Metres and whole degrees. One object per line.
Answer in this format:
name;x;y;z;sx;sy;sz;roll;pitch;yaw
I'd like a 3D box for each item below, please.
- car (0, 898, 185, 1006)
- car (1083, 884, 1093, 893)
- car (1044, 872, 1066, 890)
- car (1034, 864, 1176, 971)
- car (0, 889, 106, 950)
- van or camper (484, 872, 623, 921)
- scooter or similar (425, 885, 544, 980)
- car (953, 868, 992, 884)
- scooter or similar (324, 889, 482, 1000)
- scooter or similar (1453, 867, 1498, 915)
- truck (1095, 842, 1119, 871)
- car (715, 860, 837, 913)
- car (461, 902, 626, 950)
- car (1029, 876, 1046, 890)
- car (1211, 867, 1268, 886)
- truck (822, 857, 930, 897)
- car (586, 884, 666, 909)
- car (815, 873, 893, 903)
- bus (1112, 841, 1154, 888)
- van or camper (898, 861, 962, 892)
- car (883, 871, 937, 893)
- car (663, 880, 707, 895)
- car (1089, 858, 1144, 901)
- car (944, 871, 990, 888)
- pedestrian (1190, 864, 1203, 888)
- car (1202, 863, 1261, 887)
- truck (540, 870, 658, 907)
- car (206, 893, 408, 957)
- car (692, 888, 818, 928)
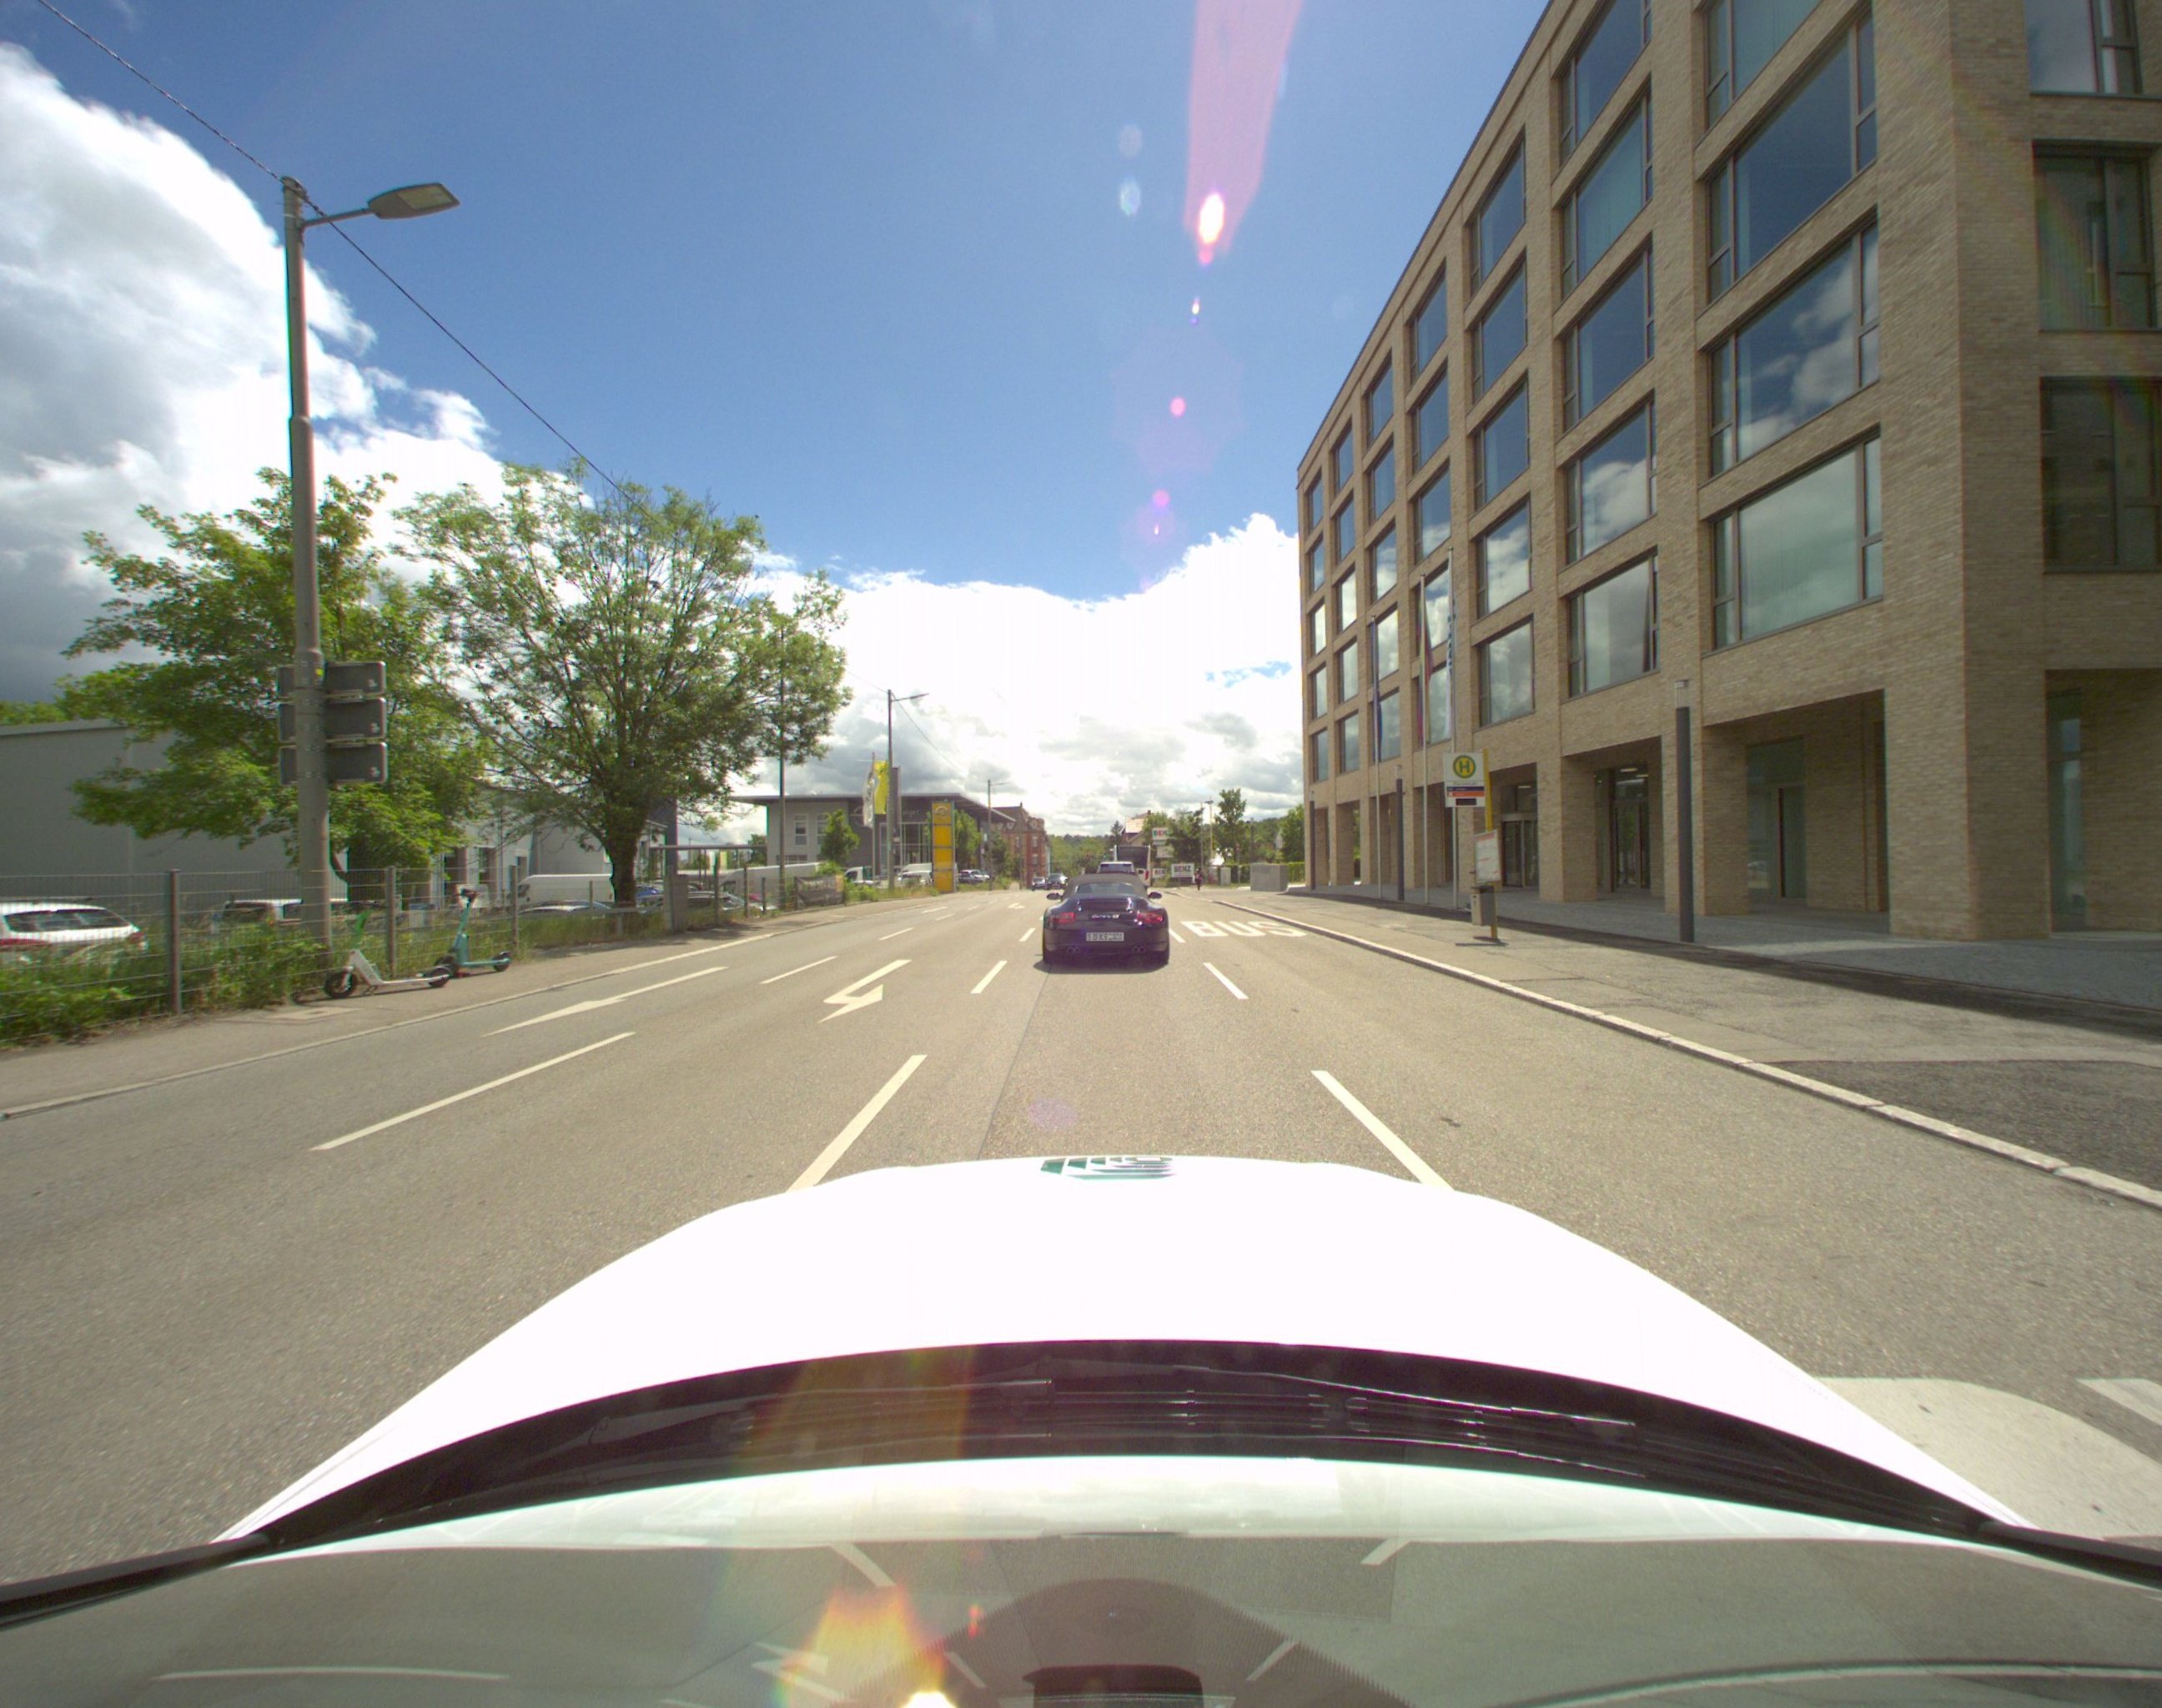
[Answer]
car;-16.381;1.429;12.132;4.255;1.381;1.868;-2;-1;5
car;1.389;7.000;165.383;1.858;1.666;4.257;-1;-2;0
car;-2.234;2.397;71.809;1.824;1.509;4.274;-2;-2;-1
car;0.404;0.894;13.213;1.923;1.376;4.210;-1;0;2
car;-33.483;2.041;24.995;4.172;1.728;1.831;-1;-1;-19
van or camper;-28.632;2.245;44.478;5.898;2.355;2.488;-1;0;-18
scooter or similar;-8.709;1.107;11.960;0.532;1.266;1.474;0;-1;6
car;-11.137;2.317;83.839;1.913;1.573;4.578;-2;-2;24
scooter or similar;-8.649;1.104;10.460;0.530;1.262;1.478;0;-1;18
scooter or similar;9.910;0.898;20.479;0.425;1.153;1.403;-2;-1;1
truck;3.088;0.424;98.959;2.658;3.108;9.033;-2;-2;0
car;-12.454;1.293;33.453;4.149;2.013;2.197;-1;0;-2
car;-16.986;2.262;25.868;4.017;1.386;1.825;-1;-2;2
car;-5.129;3.403;95.894;1.738;1.595;4.041;-4;-1;0
car;13.560;1.938;69.817;4.418;1.482;1.999;-2;-2;0
truck;-12.283;1.419;49.055;5.847;2.148;2.474;-2;-2;-3
car;-29.193;2.714;52.413;4.245;1.497;1.914;0;-2;-23
car;-12.879;1.958;46.427;3.872;1.610;1.928;-1;-2;0
bus;3.821;0.715;61.935;2.791;3.198;12.203;-1;0;3
van or camper;-12.961;1.916;70.151;5.010;2.531;2.318;-1;0;0
car;-14.150;2.320;67.549;3.967;1.706;2.003;-1;0;6
car;-36.628;3.095;75.384;3.476;1.284;1.653;-1;0;-18
car;1.349;0.980;32.618;1.925;1.583;4.205;-1;0;-1
car;-11.003;2.463;78.734;1.877;1.450;4.862;-1;0;28
pedestrian;7.277;1.393;51.472;0.685;1.536;0.856;-1;-1;0
car;13.383;1.874;72.650;4.703;1.848;2.083;-2;-2;-7
truck;-31.925;2.288;54.240;6.314;2.229;2.683;-1;-3;-20
car;-25.361;2.259;27.008;1.829;1.728;4.919;-2;-1;3
car;-12.380;2.032;31.140;4.021;1.386;1.927;-1;-2;-1
